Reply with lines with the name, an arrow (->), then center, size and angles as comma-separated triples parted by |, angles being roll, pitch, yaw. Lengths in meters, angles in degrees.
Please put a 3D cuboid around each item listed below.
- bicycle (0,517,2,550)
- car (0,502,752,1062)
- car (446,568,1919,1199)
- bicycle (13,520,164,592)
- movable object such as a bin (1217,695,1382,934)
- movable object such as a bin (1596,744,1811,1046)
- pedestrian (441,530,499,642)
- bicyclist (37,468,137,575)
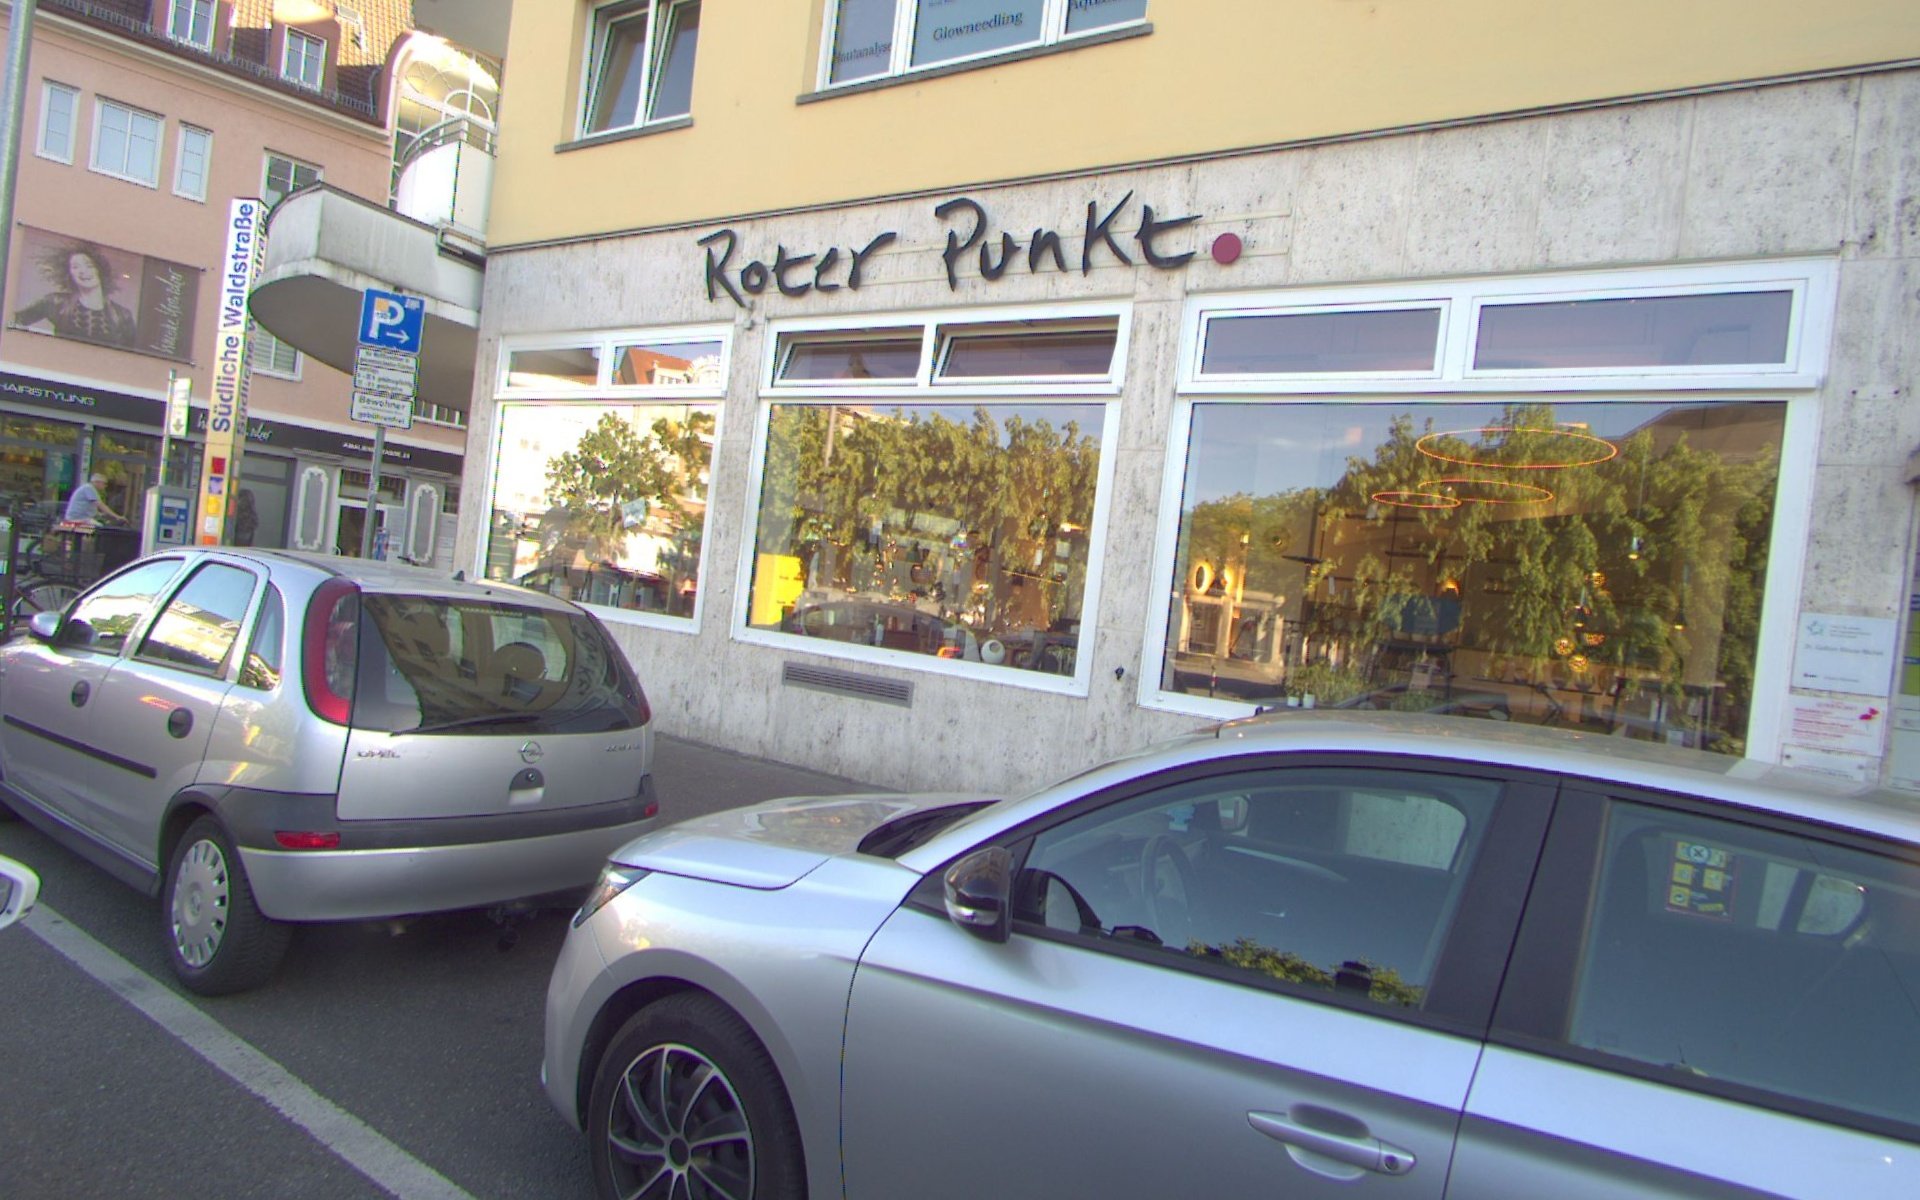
bicycle -> -9.314, -0.225, 8.526 | 0.425, 1.175, 1.629 | 7, 1, 30
car -> -2.958, 0.446, 4.459 | 3.822, 1.411, 1.624 | 7, -1, 33
car -> 0.937, 0.907, 2.204 | 4.008, 1.444, 1.673 | 7, -1, 30
bicycle -> -15.167, -0.749, 17.555 | 0.620, 0.956, 1.862 | 7, -2, 42
movable object such as a bin -> 1.862, 1.117, 5.485 | 0.609, 1.082, 0.703 | 7, 3, 31
movable object such as a bin -> 3.328, 1.276, 4.572 | 0.609, 1.082, 0.703 | 7, 3, 31
pedestrian -> -7.620, -0.224, 15.672 | 0.655, 1.654, 0.624 | 4, 2, -21
bicyclist -> -15.159, -1.345, 17.486 | 0.620, 1.674, 1.118 | 7, 0, 42
